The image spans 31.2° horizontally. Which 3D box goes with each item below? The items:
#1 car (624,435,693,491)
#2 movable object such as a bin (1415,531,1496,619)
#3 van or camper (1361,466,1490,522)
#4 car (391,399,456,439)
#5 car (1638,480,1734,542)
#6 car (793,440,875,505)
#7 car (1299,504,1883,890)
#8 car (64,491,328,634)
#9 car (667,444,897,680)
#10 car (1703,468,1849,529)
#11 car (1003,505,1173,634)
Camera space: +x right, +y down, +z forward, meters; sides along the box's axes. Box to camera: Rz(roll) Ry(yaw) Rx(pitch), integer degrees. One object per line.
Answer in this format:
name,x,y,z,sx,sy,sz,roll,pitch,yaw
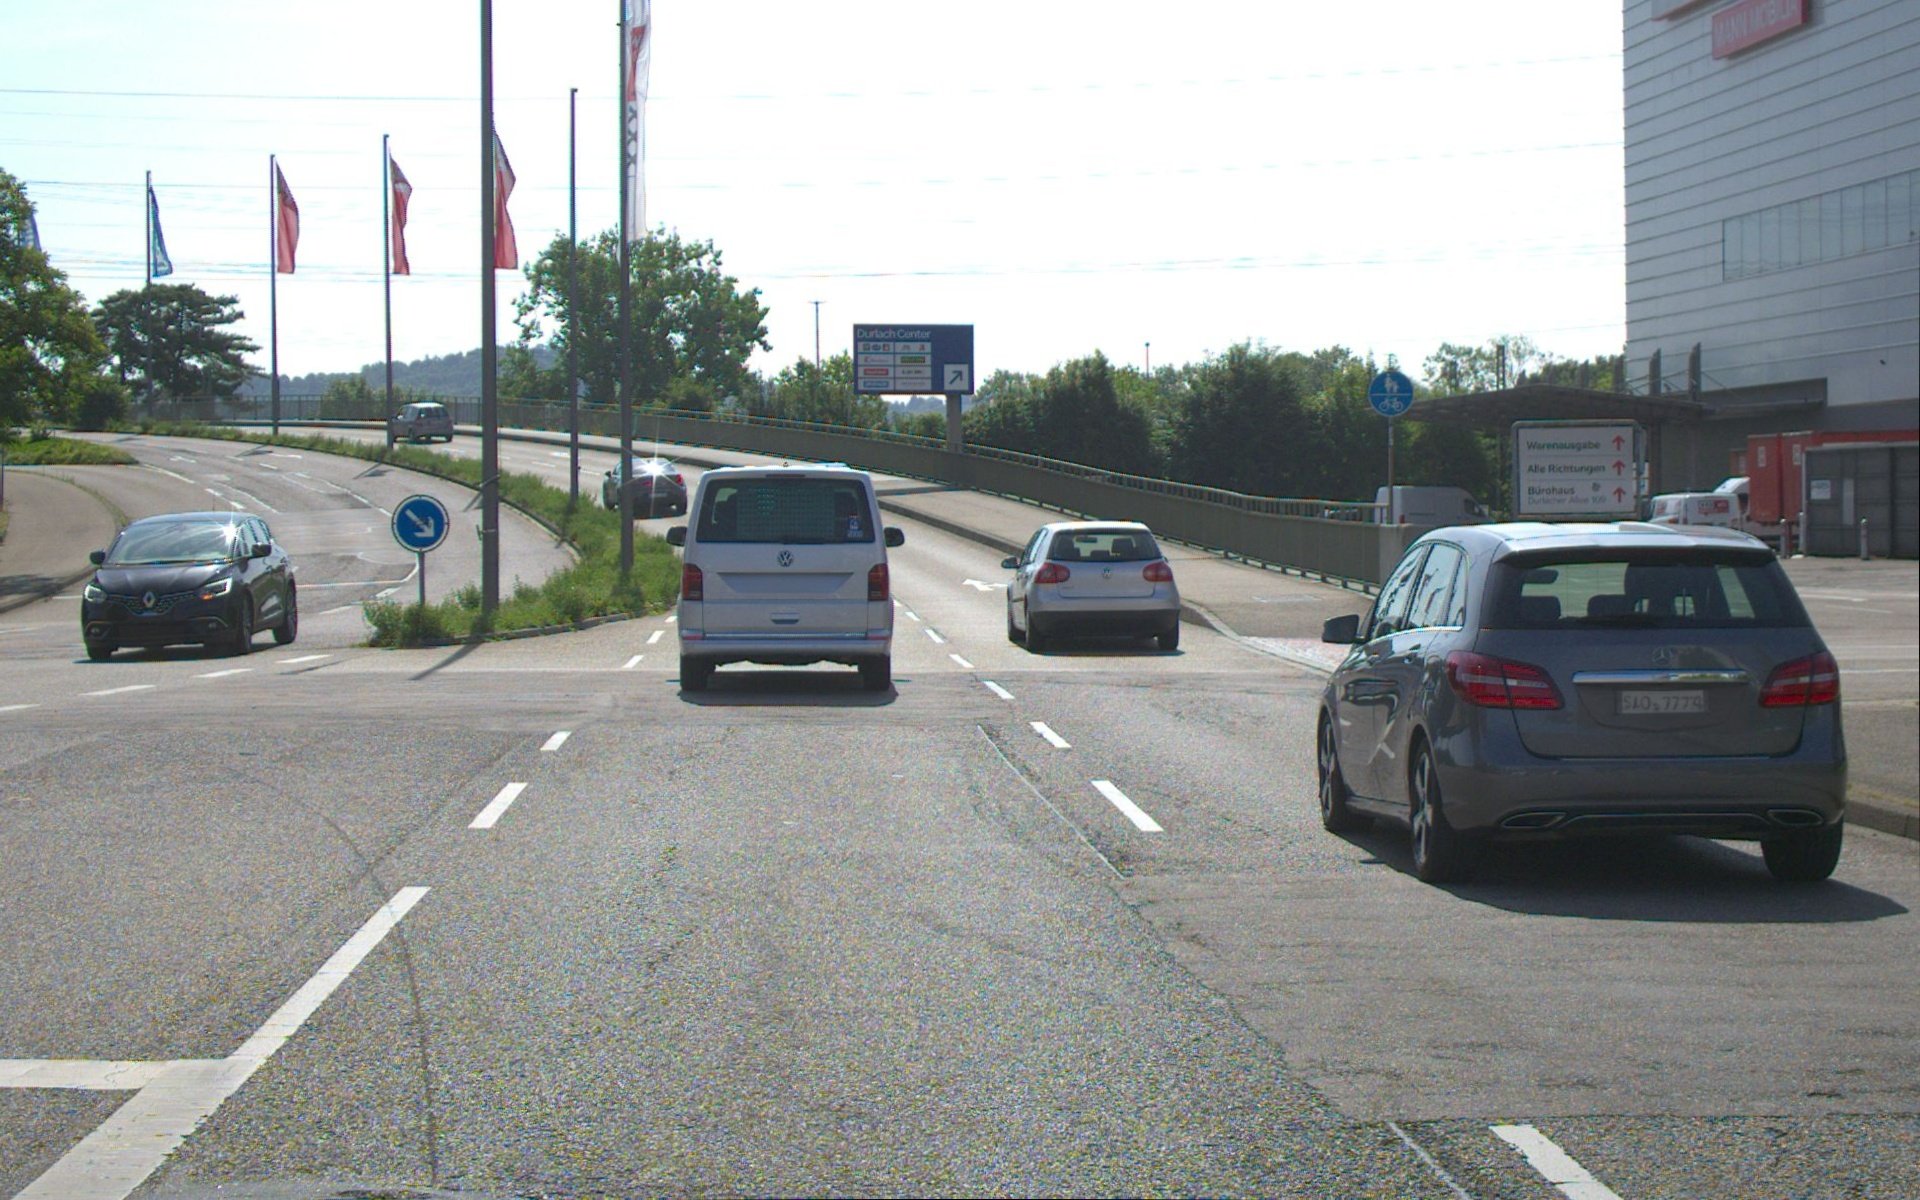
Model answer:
car,-8.268,-3.739,94.231,1.530,1.474,3.248,1,1,-11
movable object such as a bin,6.307,-0.327,43.845,0.809,1.109,1.182,0,1,-3
van or camper,20.345,-4.613,150.065,5.420,2.171,2.105,2,0,-32
car,-21.404,-7.187,137.050,1.531,1.475,3.426,0,1,-28
car,21.052,-2.614,99.784,1.672,1.745,4.094,0,2,-4
car,-3.217,-3.245,87.280,1.530,1.474,3.598,1,4,-11
car,2.731,0.335,15.829,1.773,1.533,4.138,1,1,-2
car,-8.937,-0.482,40.571,1.916,1.601,4.271,0,2,4
car,-1.563,-0.376,31.107,1.917,1.968,4.298,1,2,-2
car,26.195,-3.259,110.440,4.187,1.922,1.777,0,2,-4
car,1.446,-0.392,40.052,1.666,1.409,3.683,0,2,-3
